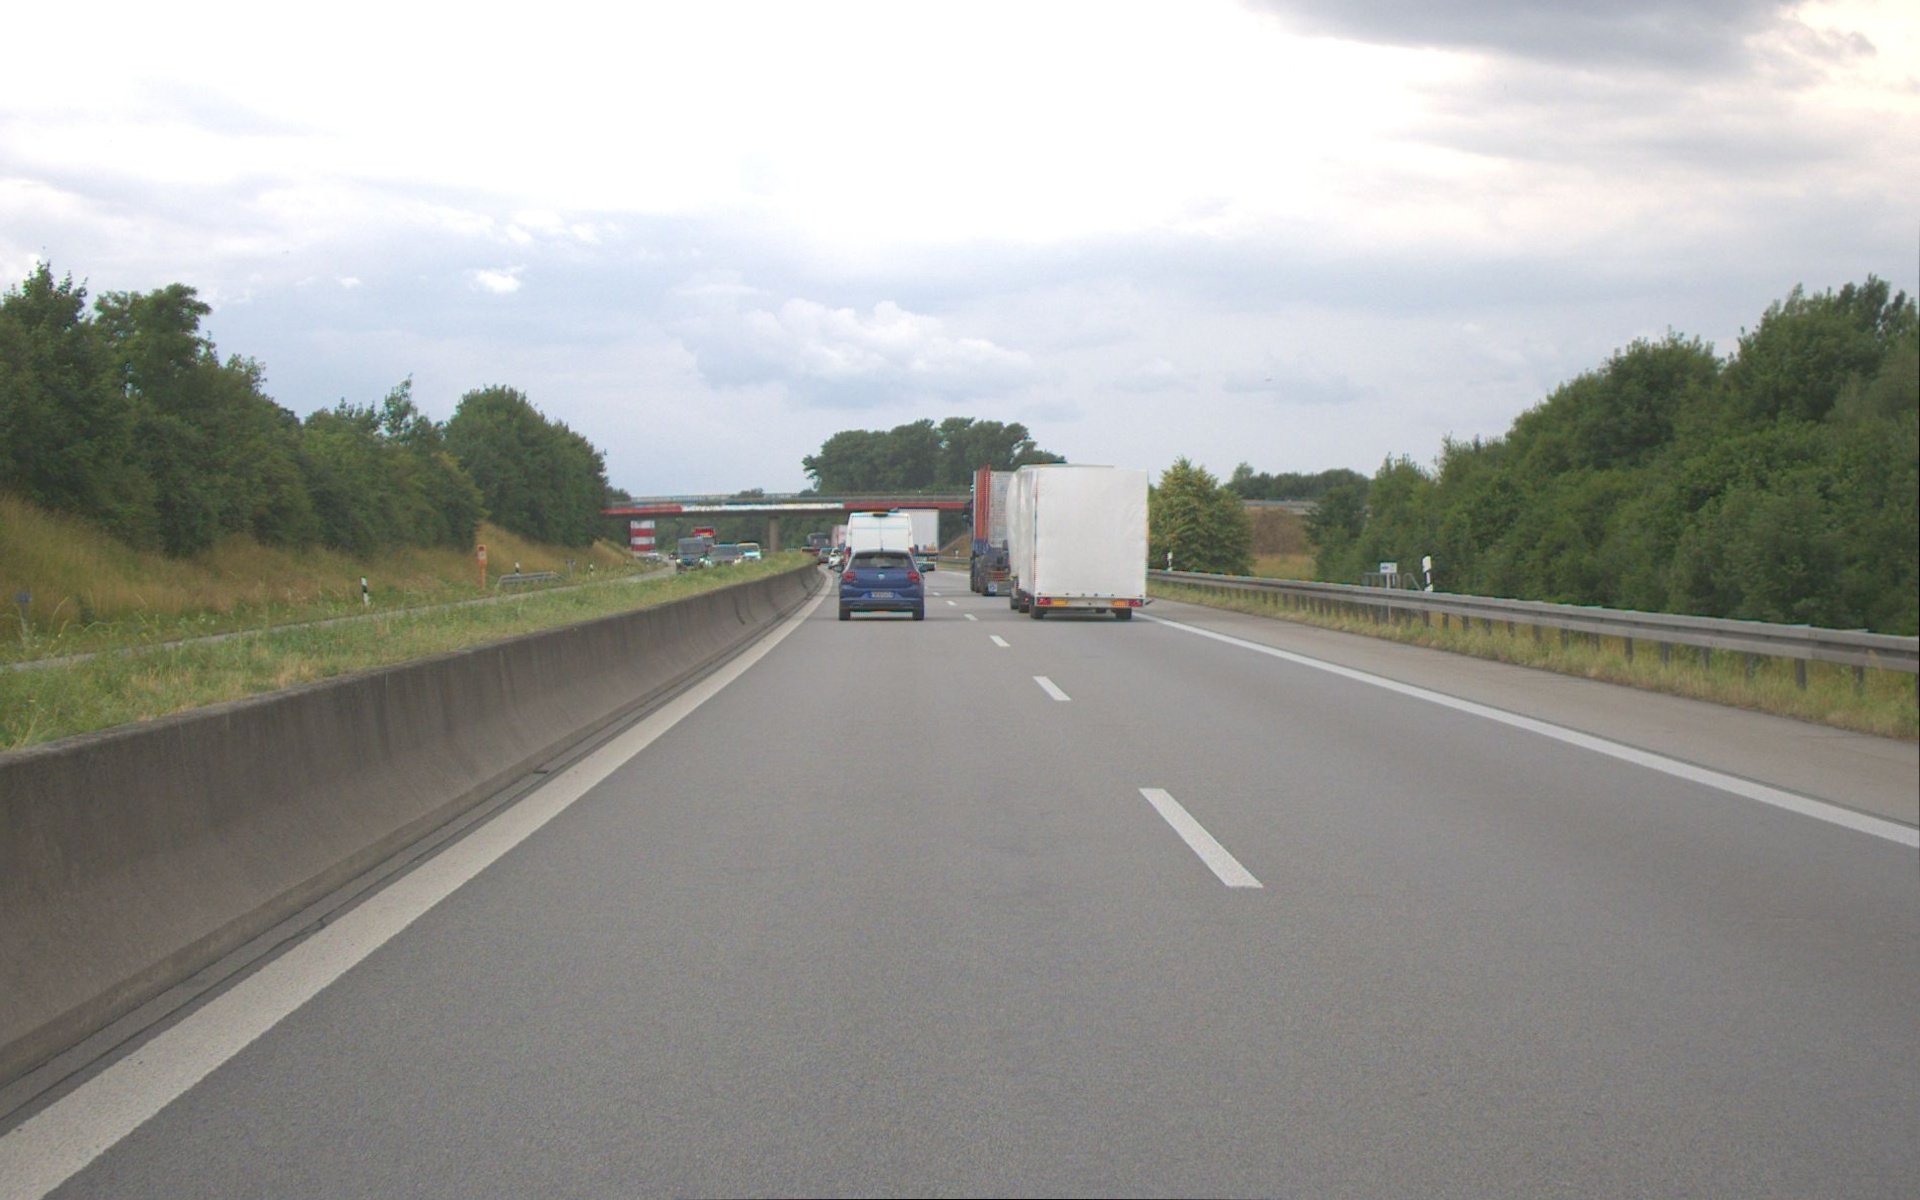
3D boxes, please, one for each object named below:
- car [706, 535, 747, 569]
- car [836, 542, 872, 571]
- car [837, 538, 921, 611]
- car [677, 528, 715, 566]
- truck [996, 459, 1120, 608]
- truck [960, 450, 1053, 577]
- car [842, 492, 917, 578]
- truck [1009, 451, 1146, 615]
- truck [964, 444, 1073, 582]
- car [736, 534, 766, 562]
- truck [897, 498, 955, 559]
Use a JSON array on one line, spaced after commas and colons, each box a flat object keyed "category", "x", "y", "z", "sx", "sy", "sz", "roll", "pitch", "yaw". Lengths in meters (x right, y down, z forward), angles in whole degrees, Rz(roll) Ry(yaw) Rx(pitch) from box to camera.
[{"category": "car", "x": -12.254, "y": -2.518, "z": 180.772, "sx": 1.919, "sy": 1.688, "sz": 4.597, "roll": -2, "pitch": 1, "yaw": -1}, {"category": "car", "x": -6.083, "y": -2.505, "z": 197.889, "sx": 1.935, "sy": 1.638, "sz": 4.903, "roll": -1, "pitch": 1, "yaw": 0}, {"category": "car", "x": -1.613, "y": -0.532, "z": 69.332, "sx": 1.663, "sy": 1.402, "sz": 3.649, "roll": 0, "pitch": 1, "yaw": -1}, {"category": "car", "x": -18.365, "y": -3.692, "z": 239.360, "sx": 2.169, "sy": 2.456, "sz": 6.724, "roll": -3, "pitch": 1, "yaw": -2}, {"category": "truck", "x": 2.169, "y": -1.506, "z": 78.146, "sx": 2.429, "sy": 3.232, "sz": 7.248, "roll": 0, "pitch": 1, "yaw": -1}, {"category": "truck", "x": 1.485, "y": -2.835, "z": 112.475, "sx": 2.673, "sy": 4.032, "sz": 5.513, "roll": -1, "pitch": 1, "yaw": -2}, {"category": "car", "x": -2.440, "y": -1.932, "z": 103.102, "sx": 2.130, "sy": 2.474, "sz": 5.840, "roll": -1, "pitch": 1, "yaw": -2}, {"category": "truck", "x": 2.356, "y": -1.375, "z": 70.957, "sx": 2.415, "sy": 3.211, "sz": 7.144, "roll": 0, "pitch": 1, "yaw": -1}, {"category": "truck", "x": 1.730, "y": -2.699, "z": 107.126, "sx": 2.673, "sy": 4.032, "sz": 11.109, "roll": -1, "pitch": 1, "yaw": -2}, {"category": "car", "x": -15.066, "y": -3.751, "z": 247.980, "sx": 1.979, "sy": 2.007, "sz": 5.131, "roll": 0, "pitch": 1, "yaw": -2}, {"category": "truck", "x": -2.194, "y": -4.541, "z": 219.509, "sx": 3.110, "sy": 3.677, "sz": 9.324, "roll": -3, "pitch": 1, "yaw": -3}]
